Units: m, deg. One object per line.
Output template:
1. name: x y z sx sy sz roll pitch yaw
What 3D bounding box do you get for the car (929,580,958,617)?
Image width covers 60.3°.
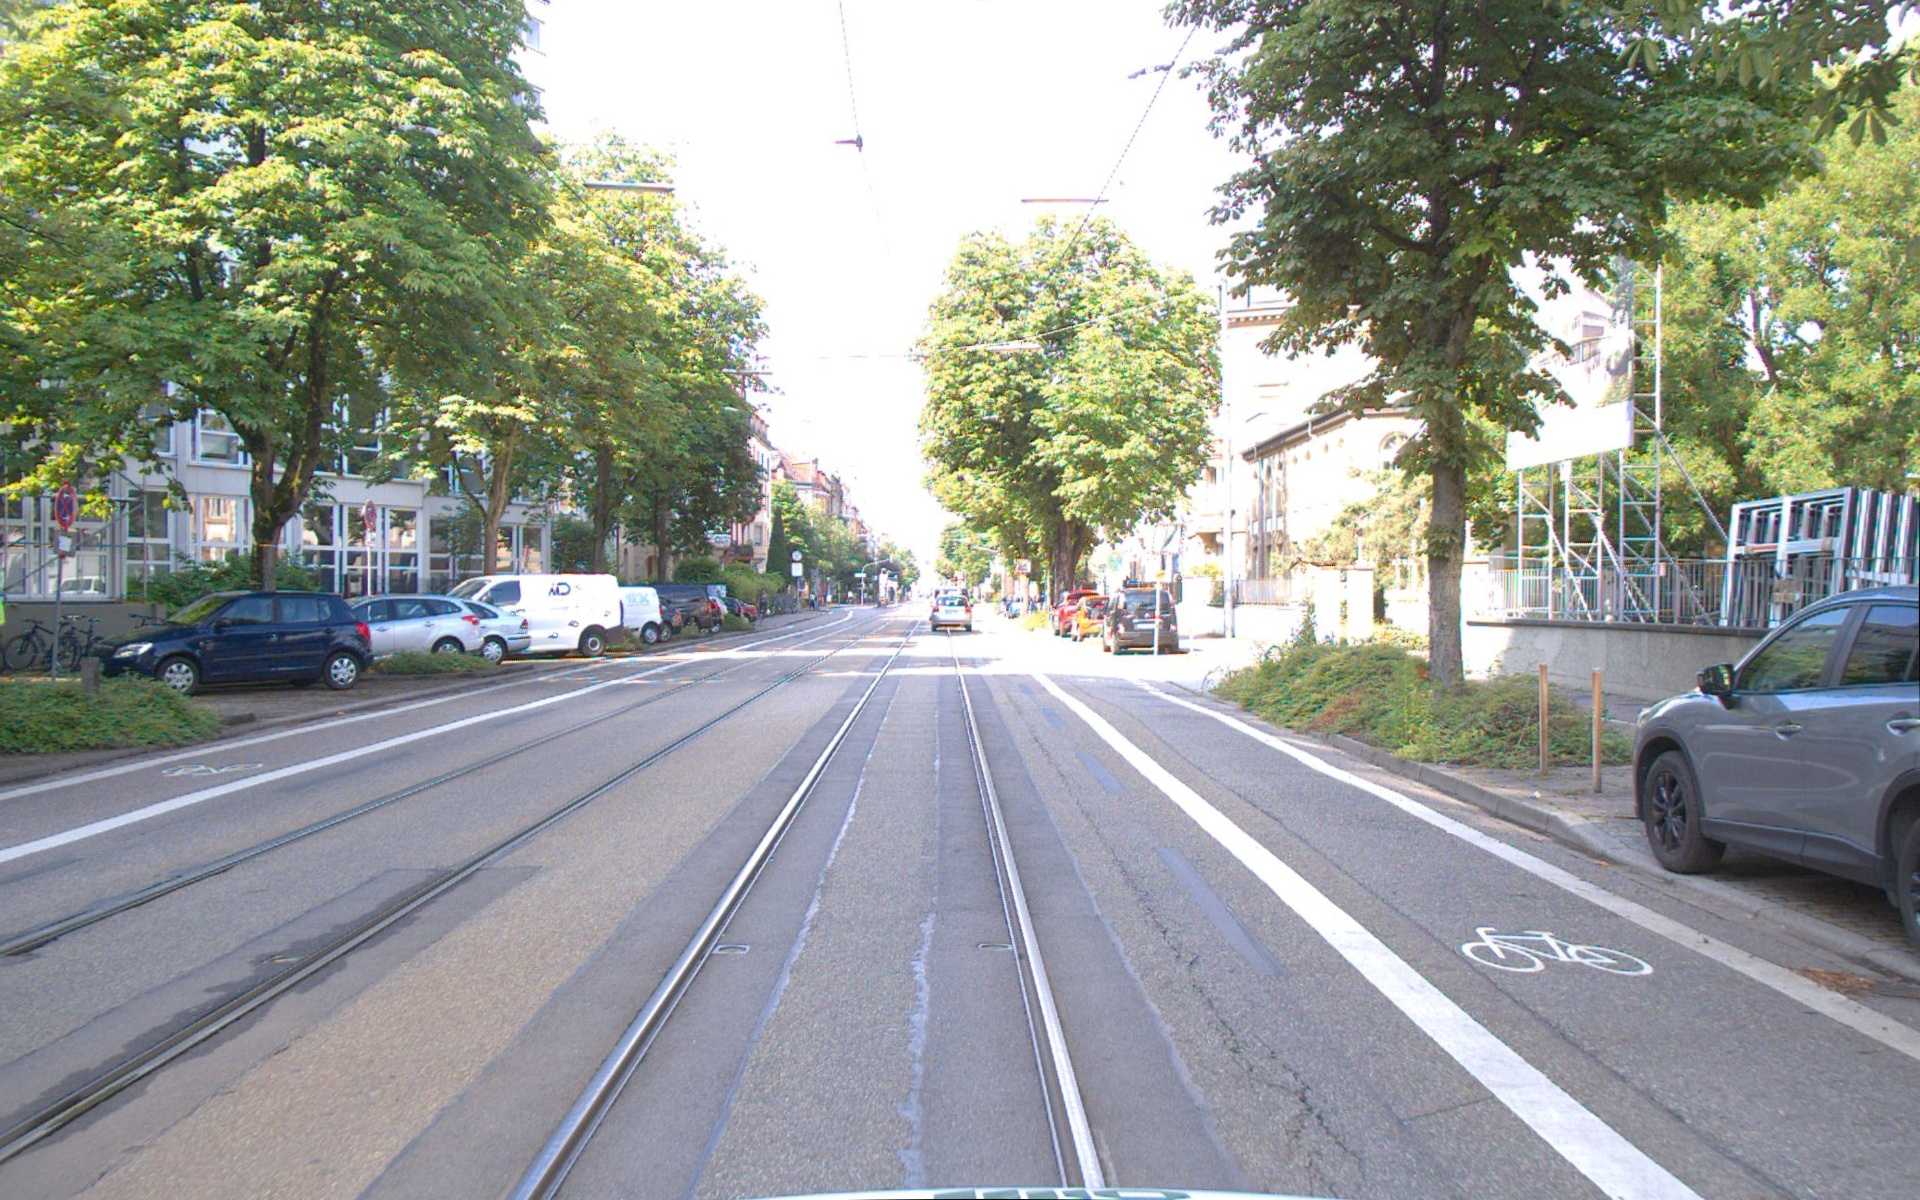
1. car: -0.946 -0.093 92.696 1.588 2.035 3.564 1 0 -1

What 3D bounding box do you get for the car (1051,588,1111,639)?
1. car: 4.401 0.469 60.566 1.919 1.735 4.000 1 0 1

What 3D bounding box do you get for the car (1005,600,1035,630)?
1. car: 3.631 0.875 100.582 1.588 1.713 3.564 1 0 -1

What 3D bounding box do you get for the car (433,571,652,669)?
1. car: -9.764 0.413 38.875 4.605 1.945 1.902 -4 3 -43

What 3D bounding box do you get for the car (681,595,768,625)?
1. car: -10.943 0.456 76.972 3.750 1.329 1.615 1 0 -40

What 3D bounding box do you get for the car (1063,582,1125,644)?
1. car: 4.302 0.386 53.518 1.640 1.638 3.586 -2 5 -1

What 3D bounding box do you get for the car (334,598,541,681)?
1. car: -10.913 0.785 34.675 3.756 1.501 1.698 -3 2 -44

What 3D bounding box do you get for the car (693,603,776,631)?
1. car: -10.980 0.838 80.723 3.750 1.329 1.615 1 0 -40

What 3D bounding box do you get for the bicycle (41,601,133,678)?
1. bicycle: -16.513 0.743 31.278 1.857 1.388 0.437 1 0 23

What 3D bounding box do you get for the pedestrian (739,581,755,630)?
1. pedestrian: -9.041 0.217 70.136 0.603 2.049 0.501 1 0 -2

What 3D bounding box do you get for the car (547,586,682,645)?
1. car: -10.761 0.470 51.624 1.851 1.742 3.734 1 1 43

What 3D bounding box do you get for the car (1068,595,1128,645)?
1. car: 4.441 0.613 53.522 1.633 1.512 3.279 -1 0 0

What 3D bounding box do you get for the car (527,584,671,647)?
1. car: -10.538 0.434 48.399 1.851 1.742 3.734 1 1 43

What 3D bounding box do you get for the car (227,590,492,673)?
1. car: -11.245 0.564 31.194 1.709 1.451 4.435 1 0 42

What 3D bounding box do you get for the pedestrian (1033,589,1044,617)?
1. pedestrian: 5.690 0.206 120.285 0.745 2.049 0.764 1 0 1

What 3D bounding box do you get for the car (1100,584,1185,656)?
1. car: 4.582 0.467 41.904 1.640 1.639 3.584 -2 1 -1

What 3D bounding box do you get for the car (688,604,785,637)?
1. car: -9.337 0.866 69.135 3.750 1.329 1.615 1 0 -40

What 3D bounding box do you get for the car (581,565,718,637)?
1. car: -10.480 0.039 56.017 1.852 2.117 4.176 4 0 43

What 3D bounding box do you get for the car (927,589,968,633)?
1. car: -0.509 0.440 67.535 1.588 1.713 3.564 1 0 -1

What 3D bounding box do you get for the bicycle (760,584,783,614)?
1. bicycle: -11.466 -0.045 100.495 0.919 1.777 2.285 1 0 5

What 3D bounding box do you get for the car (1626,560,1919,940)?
1. car: 5.058 0.640 8.131 1.729 1.634 4.458 -1 2 -1

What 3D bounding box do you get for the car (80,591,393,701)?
1. car: -10.793 0.642 24.827 3.968 1.488 1.732 1 1 -44

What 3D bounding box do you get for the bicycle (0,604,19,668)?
1. bicycle: -17.477 0.607 29.216 2.011 1.106 0.496 1 0 29
